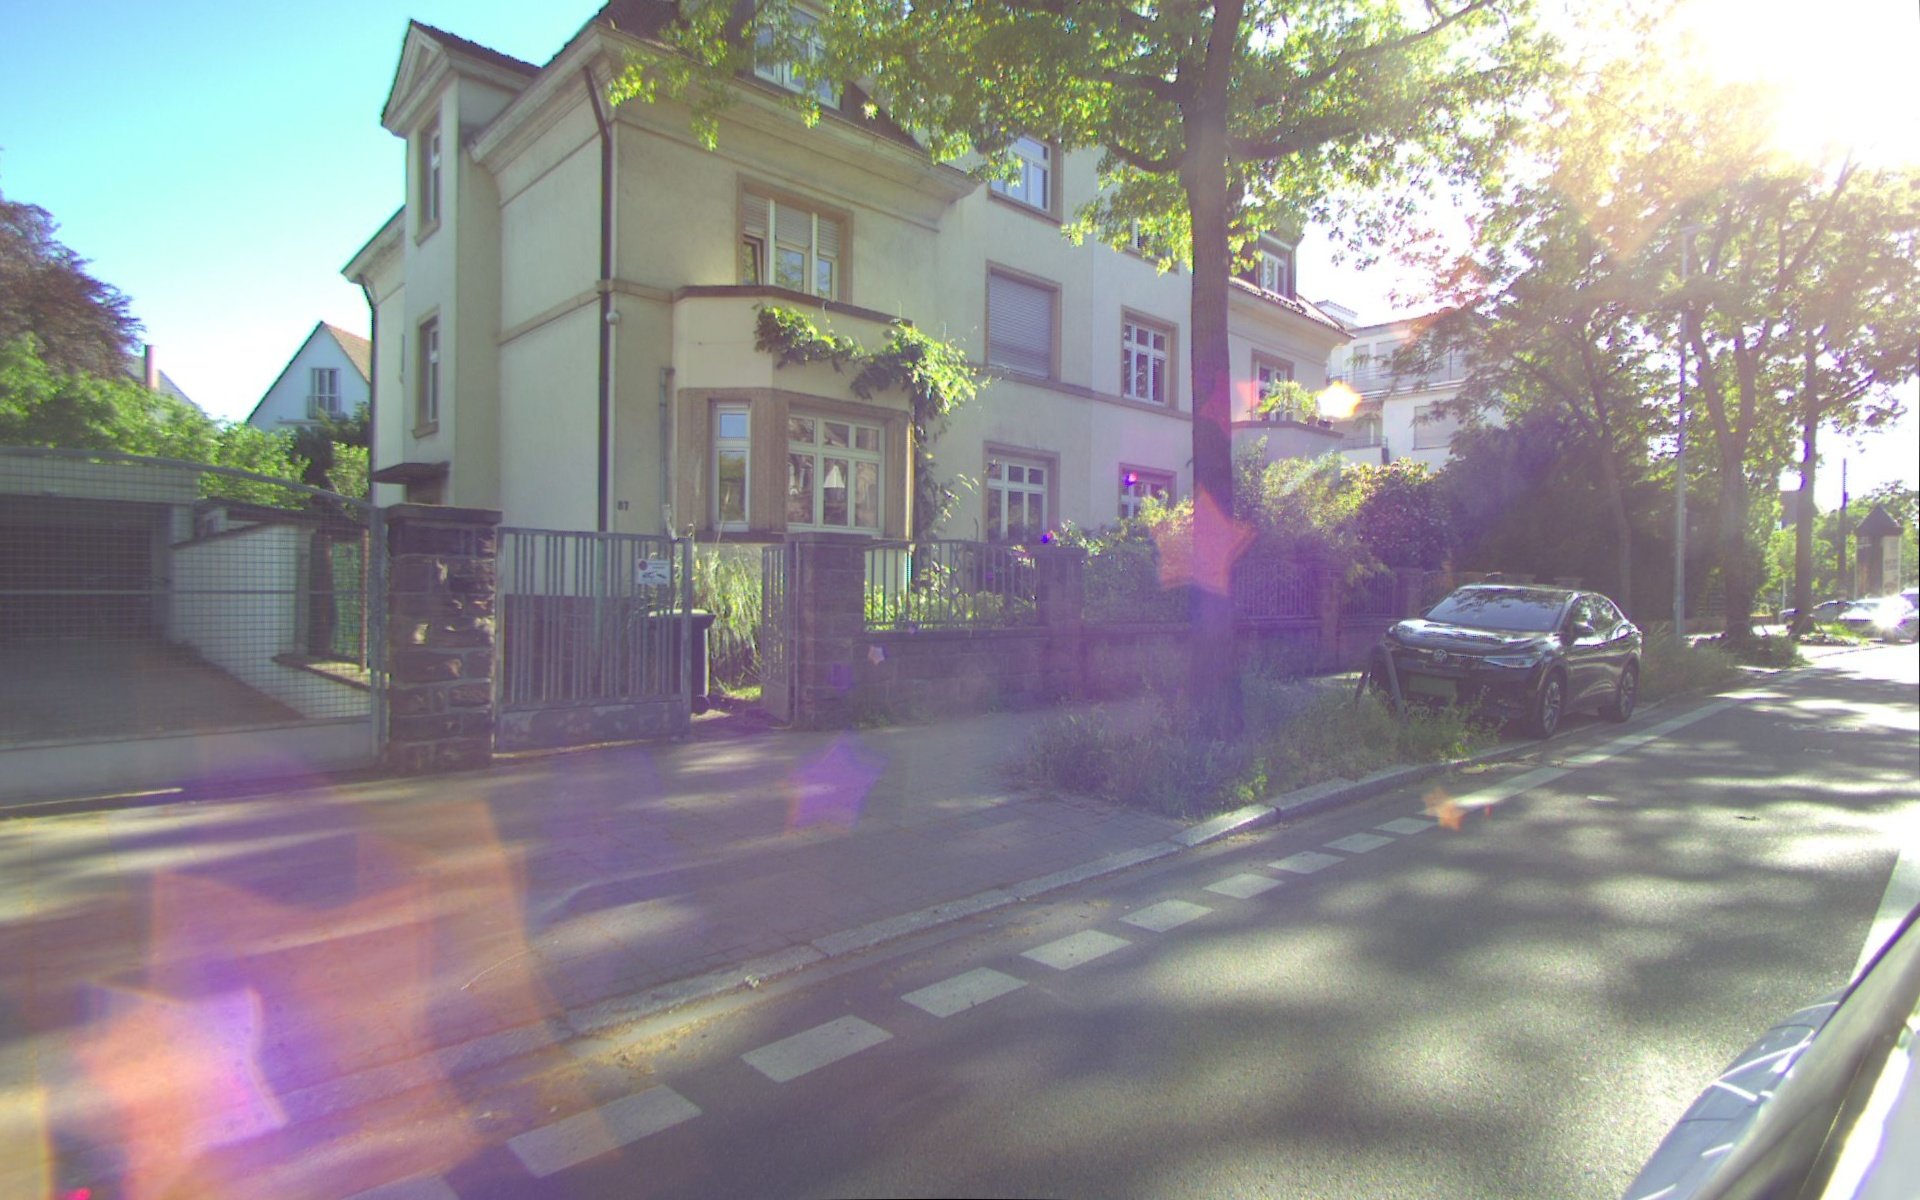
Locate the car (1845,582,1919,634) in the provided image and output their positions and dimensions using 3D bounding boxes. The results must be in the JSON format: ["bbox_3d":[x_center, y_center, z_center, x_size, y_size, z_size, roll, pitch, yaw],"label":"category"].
[{"bbox_3d":[31.511,0.241,34.102,3.927,1.660,1.824,0,1,-38],"label":"car"}]

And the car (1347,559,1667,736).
[{"bbox_3d":[6.702,0.477,12.200,4.304,1.695,1.997,1,2,-42],"label":"car"}]

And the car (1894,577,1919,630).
[{"bbox_3d":[36.766,0.117,37.880,4.663,1.919,2.128,0,1,-41],"label":"car"}]
